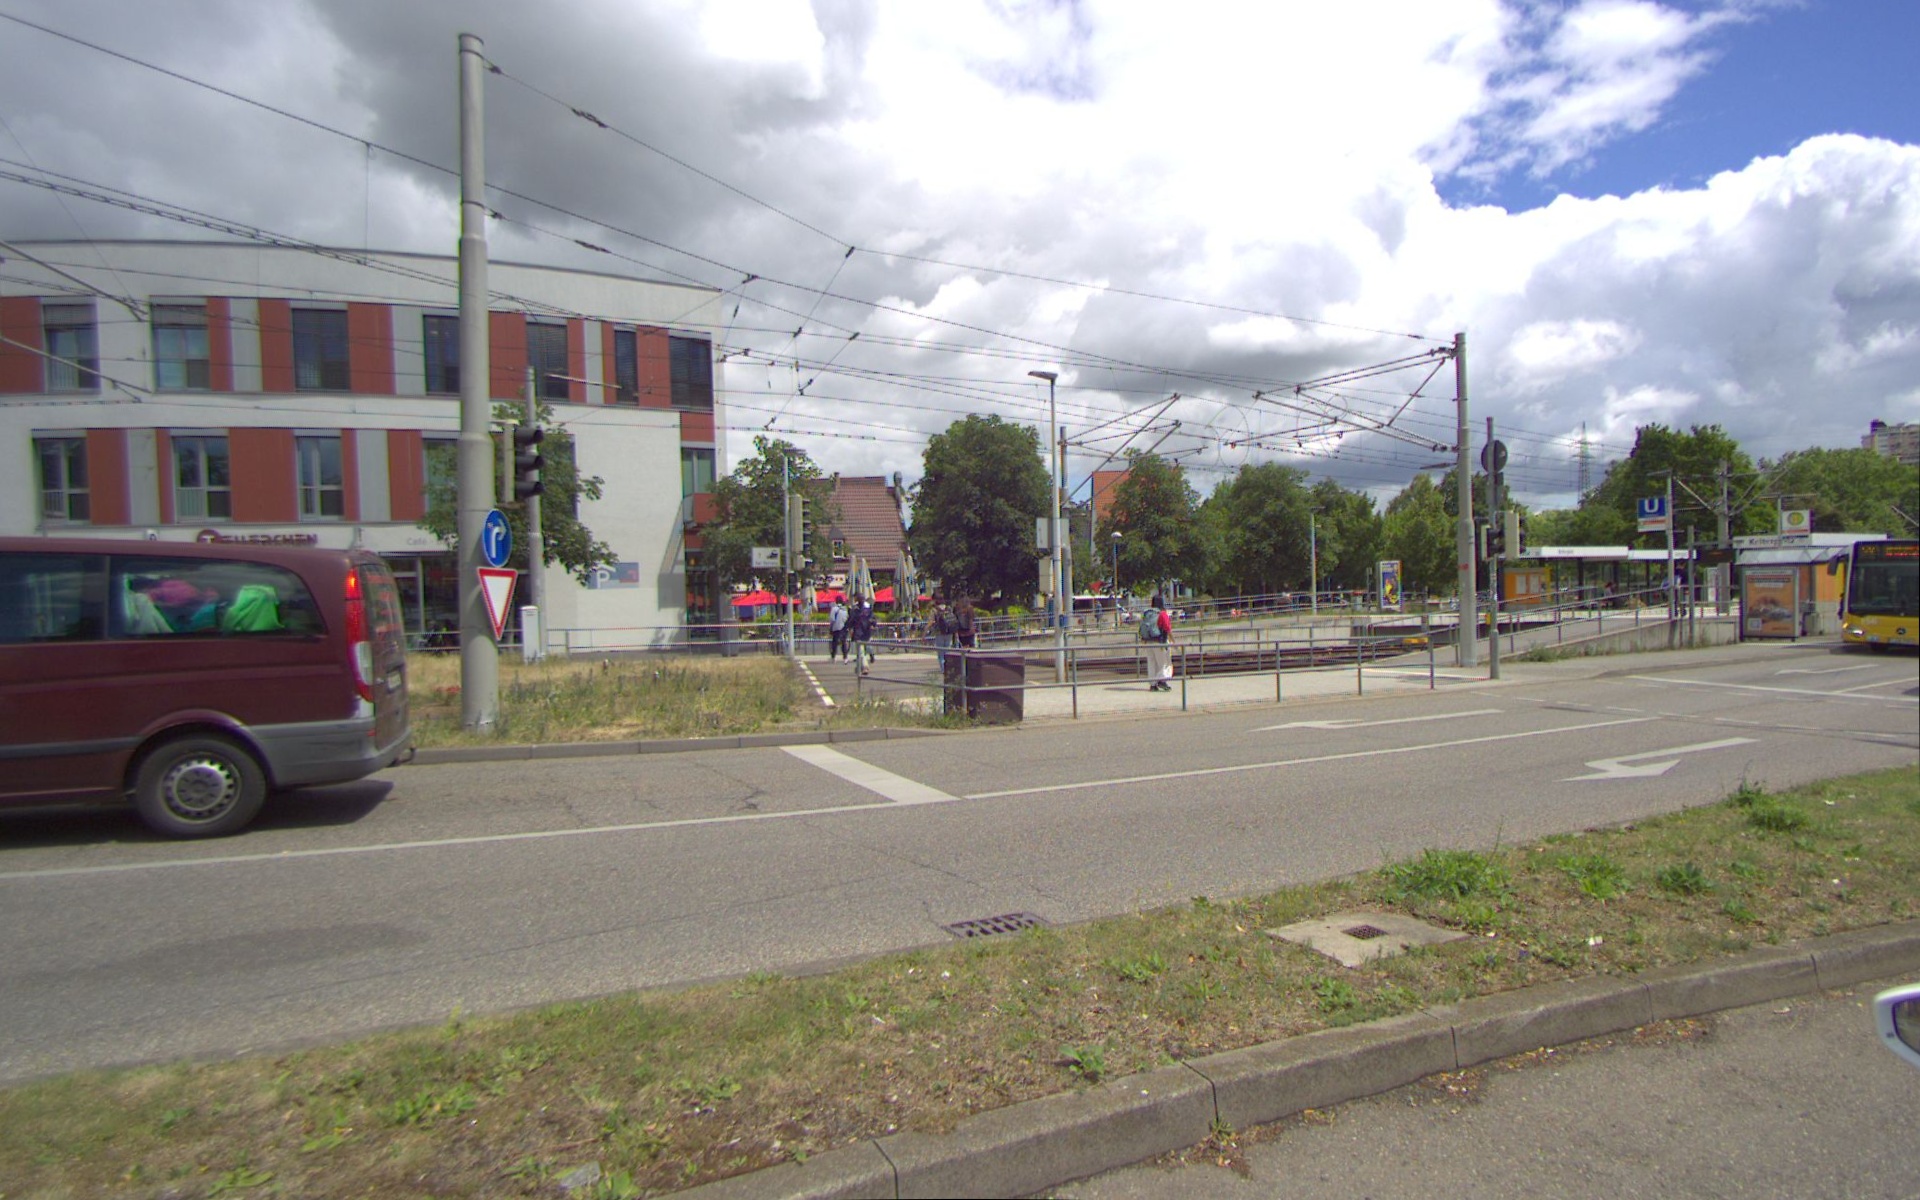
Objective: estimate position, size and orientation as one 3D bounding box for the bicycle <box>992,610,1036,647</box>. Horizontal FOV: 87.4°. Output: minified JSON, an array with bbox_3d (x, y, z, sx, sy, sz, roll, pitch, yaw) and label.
[{"bbox_3d":[1.705,0.884,31.834,0.683,1.112,1.897,-3,0,-19],"label":"bicycle"}]

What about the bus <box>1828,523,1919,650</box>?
[{"bbox_3d":[27.553,-0.328,27.949,9.600,3.151,2.710,0,0,-34],"label":"bus"}]

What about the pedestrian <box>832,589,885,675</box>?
[{"bbox_3d":[-1.978,0.613,19.580,0.823,1.625,0.666,-1,-1,44],"label":"pedestrian"}]

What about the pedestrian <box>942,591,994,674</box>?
[{"bbox_3d":[0.168,0.637,20.134,0.821,1.617,0.640,0,0,35],"label":"pedestrian"}]

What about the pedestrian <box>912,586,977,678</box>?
[{"bbox_3d":[-0.293,0.585,18.607,0.909,1.658,0.858,0,-1,-30],"label":"pedestrian"}]

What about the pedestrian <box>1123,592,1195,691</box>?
[{"bbox_3d":[3.267,0.655,16.535,0.826,1.561,0.794,0,2,-35],"label":"pedestrian"}]

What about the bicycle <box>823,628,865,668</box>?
[{"bbox_3d":[-3.412,1.378,29.426,0.684,1.112,1.894,-1,-1,-24],"label":"bicycle"}]

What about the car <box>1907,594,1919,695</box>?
[{"bbox_3d":[17.943,0.720,17.132,4.033,1.671,1.689,-1,1,-33],"label":"car"}]

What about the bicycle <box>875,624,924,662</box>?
[{"bbox_3d":[-1.848,1.284,30.497,0.686,1.077,1.889,0,-1,-31],"label":"bicycle"}]

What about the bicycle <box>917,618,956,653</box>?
[{"bbox_3d":[-0.753,1.081,31.072,0.683,1.043,1.897,-1,0,-18],"label":"bicycle"}]

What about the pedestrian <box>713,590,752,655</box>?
[{"bbox_3d":[-6.280,0.619,27.703,0.660,1.758,0.832,0,0,36],"label":"pedestrian"}]

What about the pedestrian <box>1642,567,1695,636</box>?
[{"bbox_3d":[21.252,0.053,30.121,1.017,2.040,0.966,0,0,-30],"label":"pedestrian"}]

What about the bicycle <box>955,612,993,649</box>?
[{"bbox_3d":[0.421,0.924,31.288,0.599,1.112,1.897,-1,0,-19],"label":"bicycle"}]

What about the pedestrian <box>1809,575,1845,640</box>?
[{"bbox_3d":[27.397,0.244,31.736,0.820,2.040,0.697,0,-1,-38],"label":"pedestrian"}]

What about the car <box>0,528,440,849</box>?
[{"bbox_3d":[-6.301,0.499,6.526,4.999,1.846,1.989,1,0,-23],"label":"car"}]

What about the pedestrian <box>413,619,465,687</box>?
[{"bbox_3d":[-16.261,1.625,31.381,1.119,2.040,1.255,-1,-1,-11],"label":"pedestrian"}]

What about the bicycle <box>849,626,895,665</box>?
[{"bbox_3d":[-2.631,1.329,29.894,0.685,1.112,1.891,0,-1,-28],"label":"bicycle"}]

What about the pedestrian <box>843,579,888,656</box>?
[{"bbox_3d":[-2.328,0.416,24.656,0.763,1.846,0.902,-1,0,-29],"label":"pedestrian"}]
